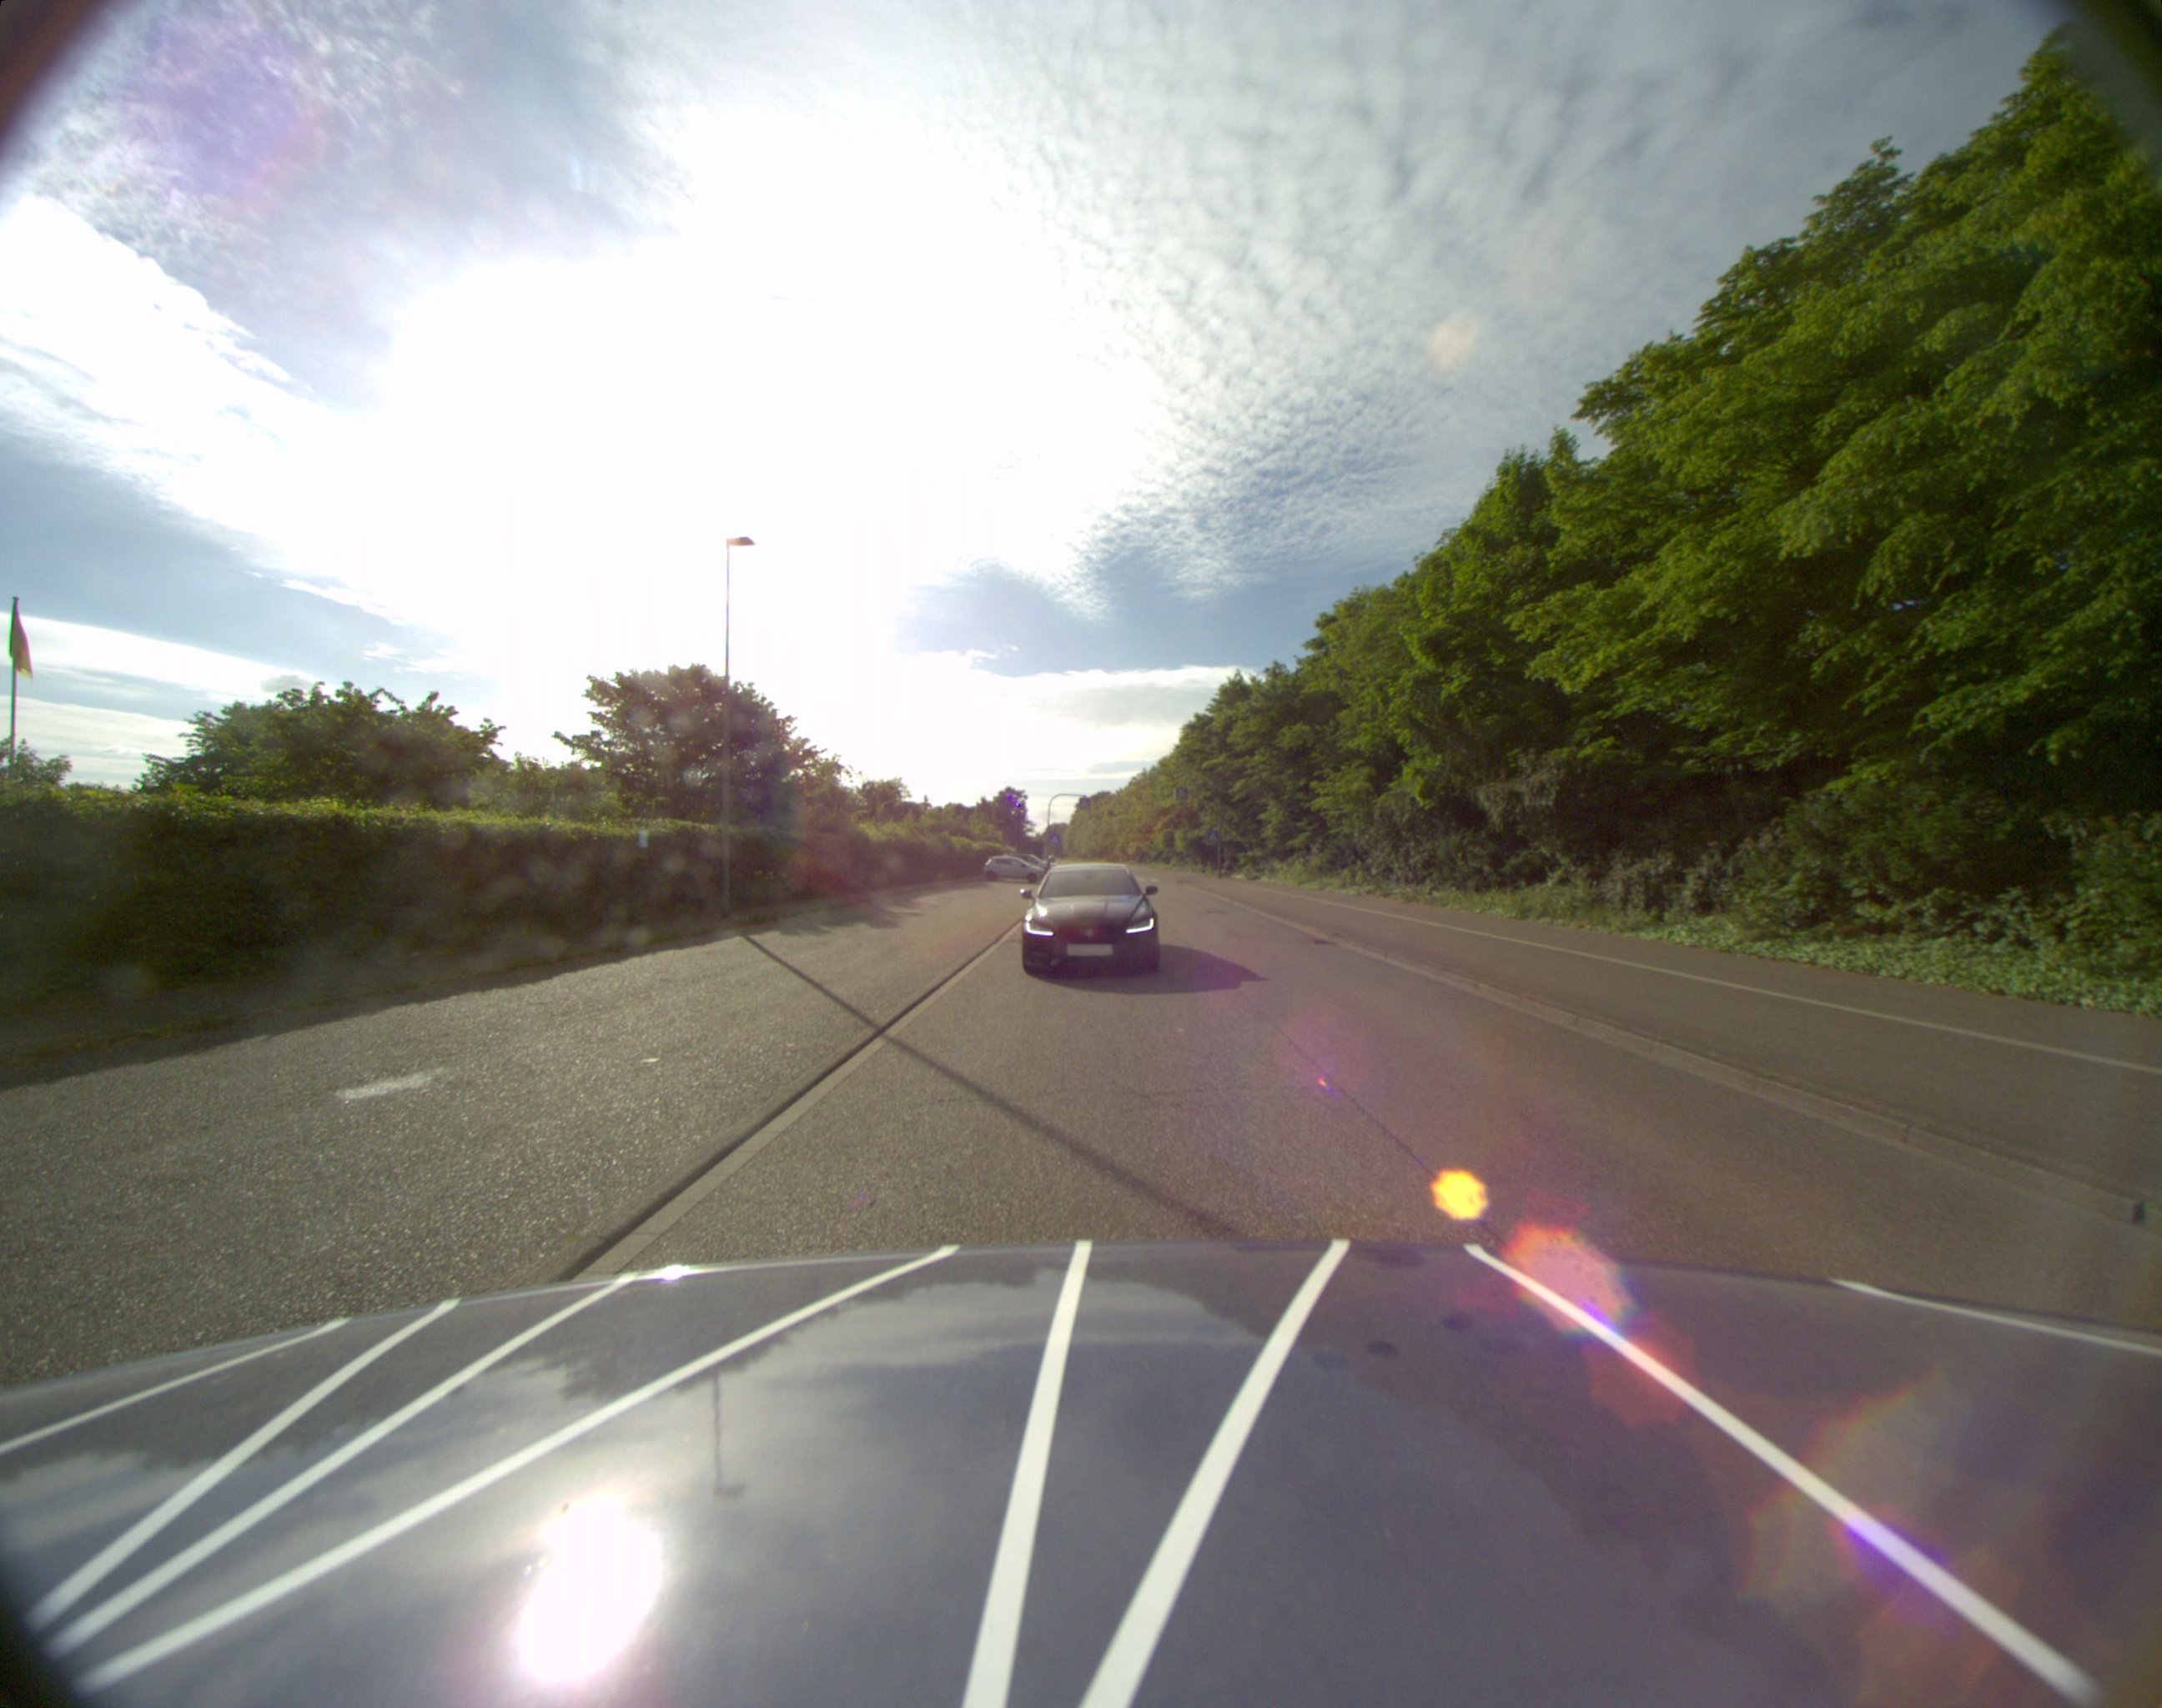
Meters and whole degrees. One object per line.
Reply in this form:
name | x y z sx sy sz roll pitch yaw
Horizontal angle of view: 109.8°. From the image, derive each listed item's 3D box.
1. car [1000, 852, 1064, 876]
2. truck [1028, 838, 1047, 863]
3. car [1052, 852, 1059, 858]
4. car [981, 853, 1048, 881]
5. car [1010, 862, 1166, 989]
car | -3.659 0.725 57.304 4.599 1.690 1.763 1 1 2
truck | -7.241 -0.626 126.995 2.603 3.935 6.279 3 0 -7
car | -6.761 0.227 199.078 1.807 1.576 4.100 1 1 -2
car | -4.023 0.811 46.589 3.867 1.481 1.692 3 -1 0
car | 0.097 0.918 11.861 1.936 1.501 4.679 -1 0 0
